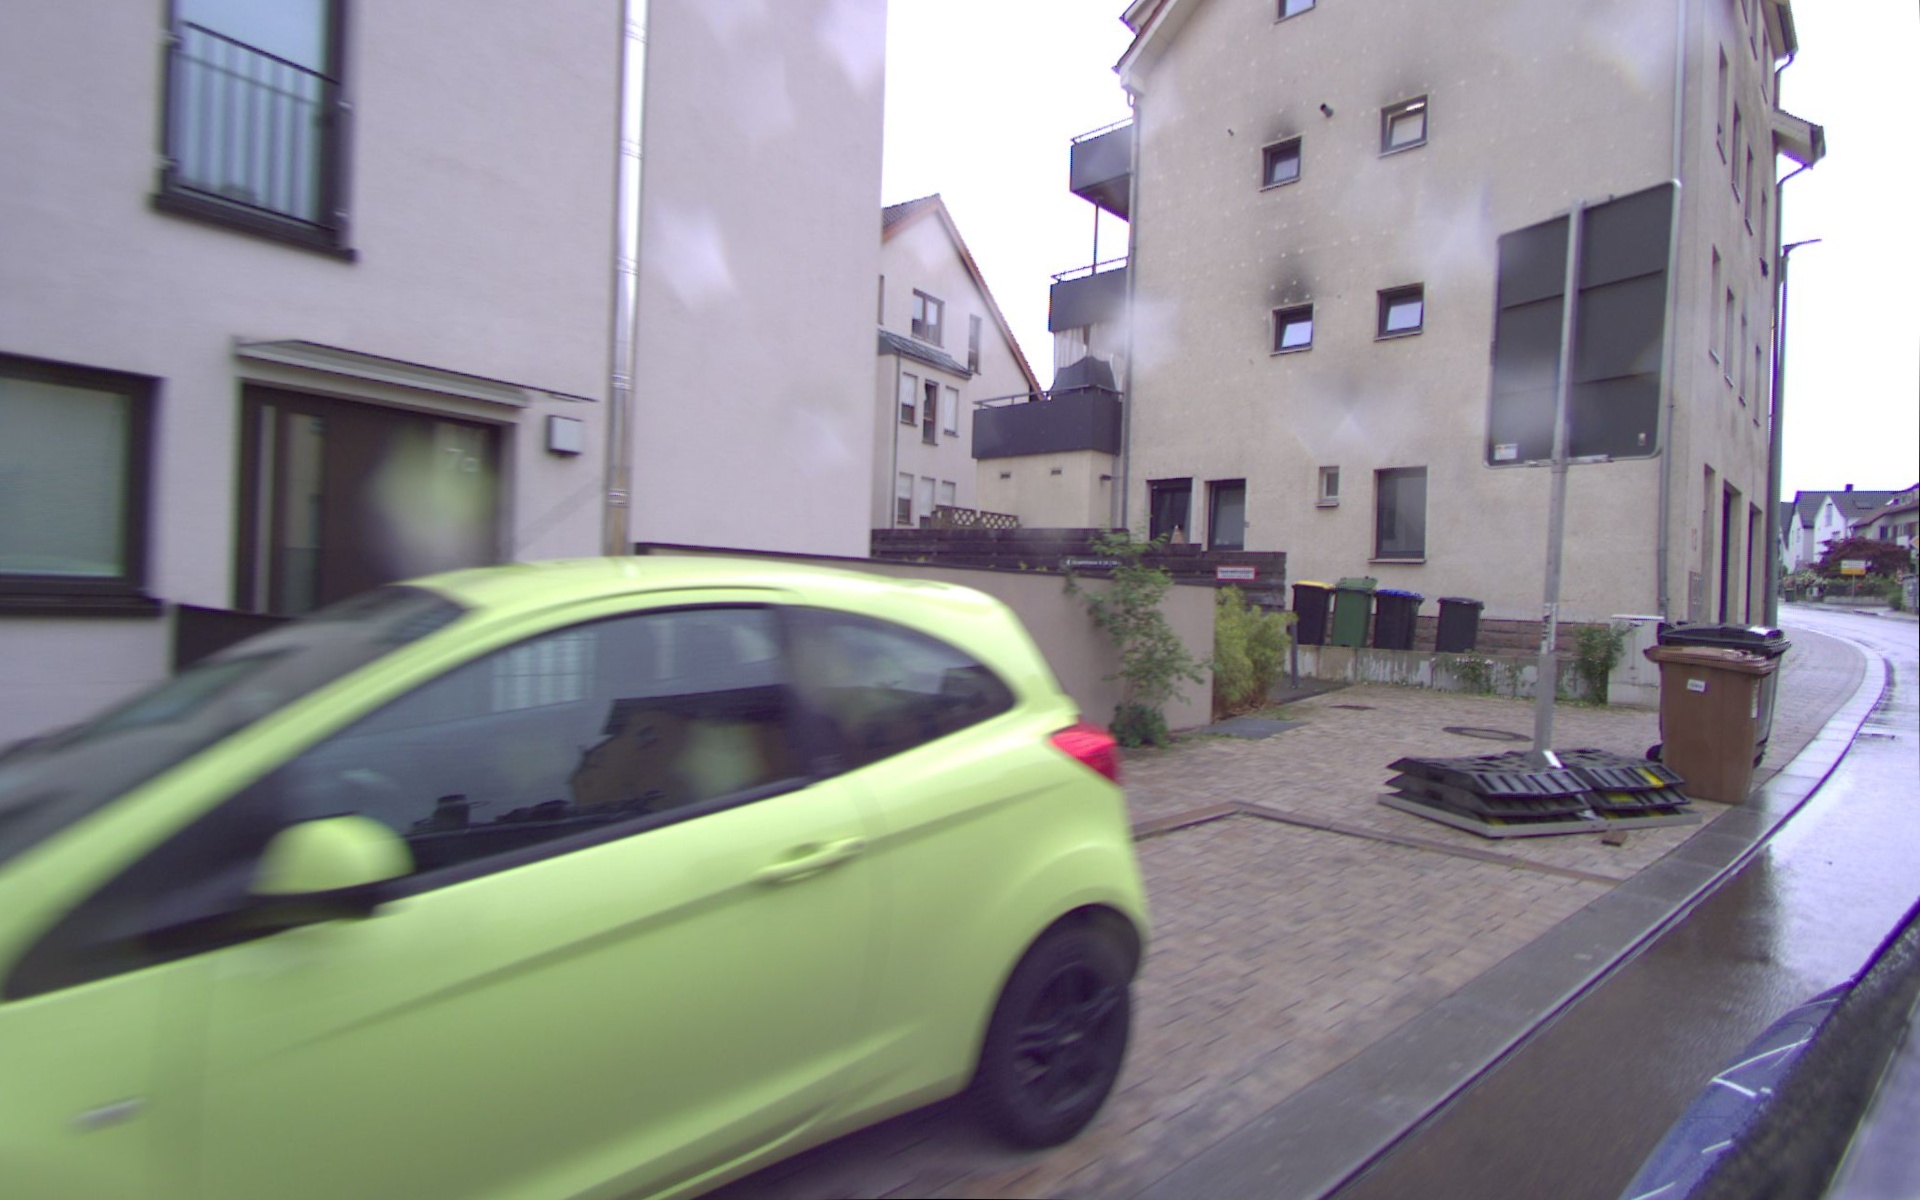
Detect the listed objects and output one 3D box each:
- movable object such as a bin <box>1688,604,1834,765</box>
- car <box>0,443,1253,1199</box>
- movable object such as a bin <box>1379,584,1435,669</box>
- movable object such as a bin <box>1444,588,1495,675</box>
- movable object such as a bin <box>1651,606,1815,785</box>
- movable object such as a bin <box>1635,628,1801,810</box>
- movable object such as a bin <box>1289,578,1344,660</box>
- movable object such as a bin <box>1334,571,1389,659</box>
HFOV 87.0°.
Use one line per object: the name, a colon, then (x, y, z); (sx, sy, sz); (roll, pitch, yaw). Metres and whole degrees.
movable object such as a bin: (7.163, 0.704, 9.050); (1.042, 1.263, 0.797); (-1, 4, -42)
car: (-1.035, 0.536, 2.470); (3.570, 1.544, 1.641); (-1, 2, -40)
movable object such as a bin: (6.327, 0.358, 14.319); (0.581, 1.122, 0.713); (4, 4, 31)
movable object such as a bin: (6.994, 0.414, 13.887); (0.507, 1.122, 0.713); (4, 4, 31)
movable object such as a bin: (6.329, 0.721, 8.274); (1.222, 1.263, 0.797); (-1, 5, -43)
movable object such as a bin: (5.448, 0.808, 7.282); (0.796, 1.122, 0.762); (-1, 4, -42)
movable object such as a bin: (5.261, 0.263, 14.911); (0.581, 1.122, 0.713); (4, 4, 31)
movable object such as a bin: (5.805, 0.194, 14.620); (0.581, 1.199, 0.713); (4, 4, 31)
